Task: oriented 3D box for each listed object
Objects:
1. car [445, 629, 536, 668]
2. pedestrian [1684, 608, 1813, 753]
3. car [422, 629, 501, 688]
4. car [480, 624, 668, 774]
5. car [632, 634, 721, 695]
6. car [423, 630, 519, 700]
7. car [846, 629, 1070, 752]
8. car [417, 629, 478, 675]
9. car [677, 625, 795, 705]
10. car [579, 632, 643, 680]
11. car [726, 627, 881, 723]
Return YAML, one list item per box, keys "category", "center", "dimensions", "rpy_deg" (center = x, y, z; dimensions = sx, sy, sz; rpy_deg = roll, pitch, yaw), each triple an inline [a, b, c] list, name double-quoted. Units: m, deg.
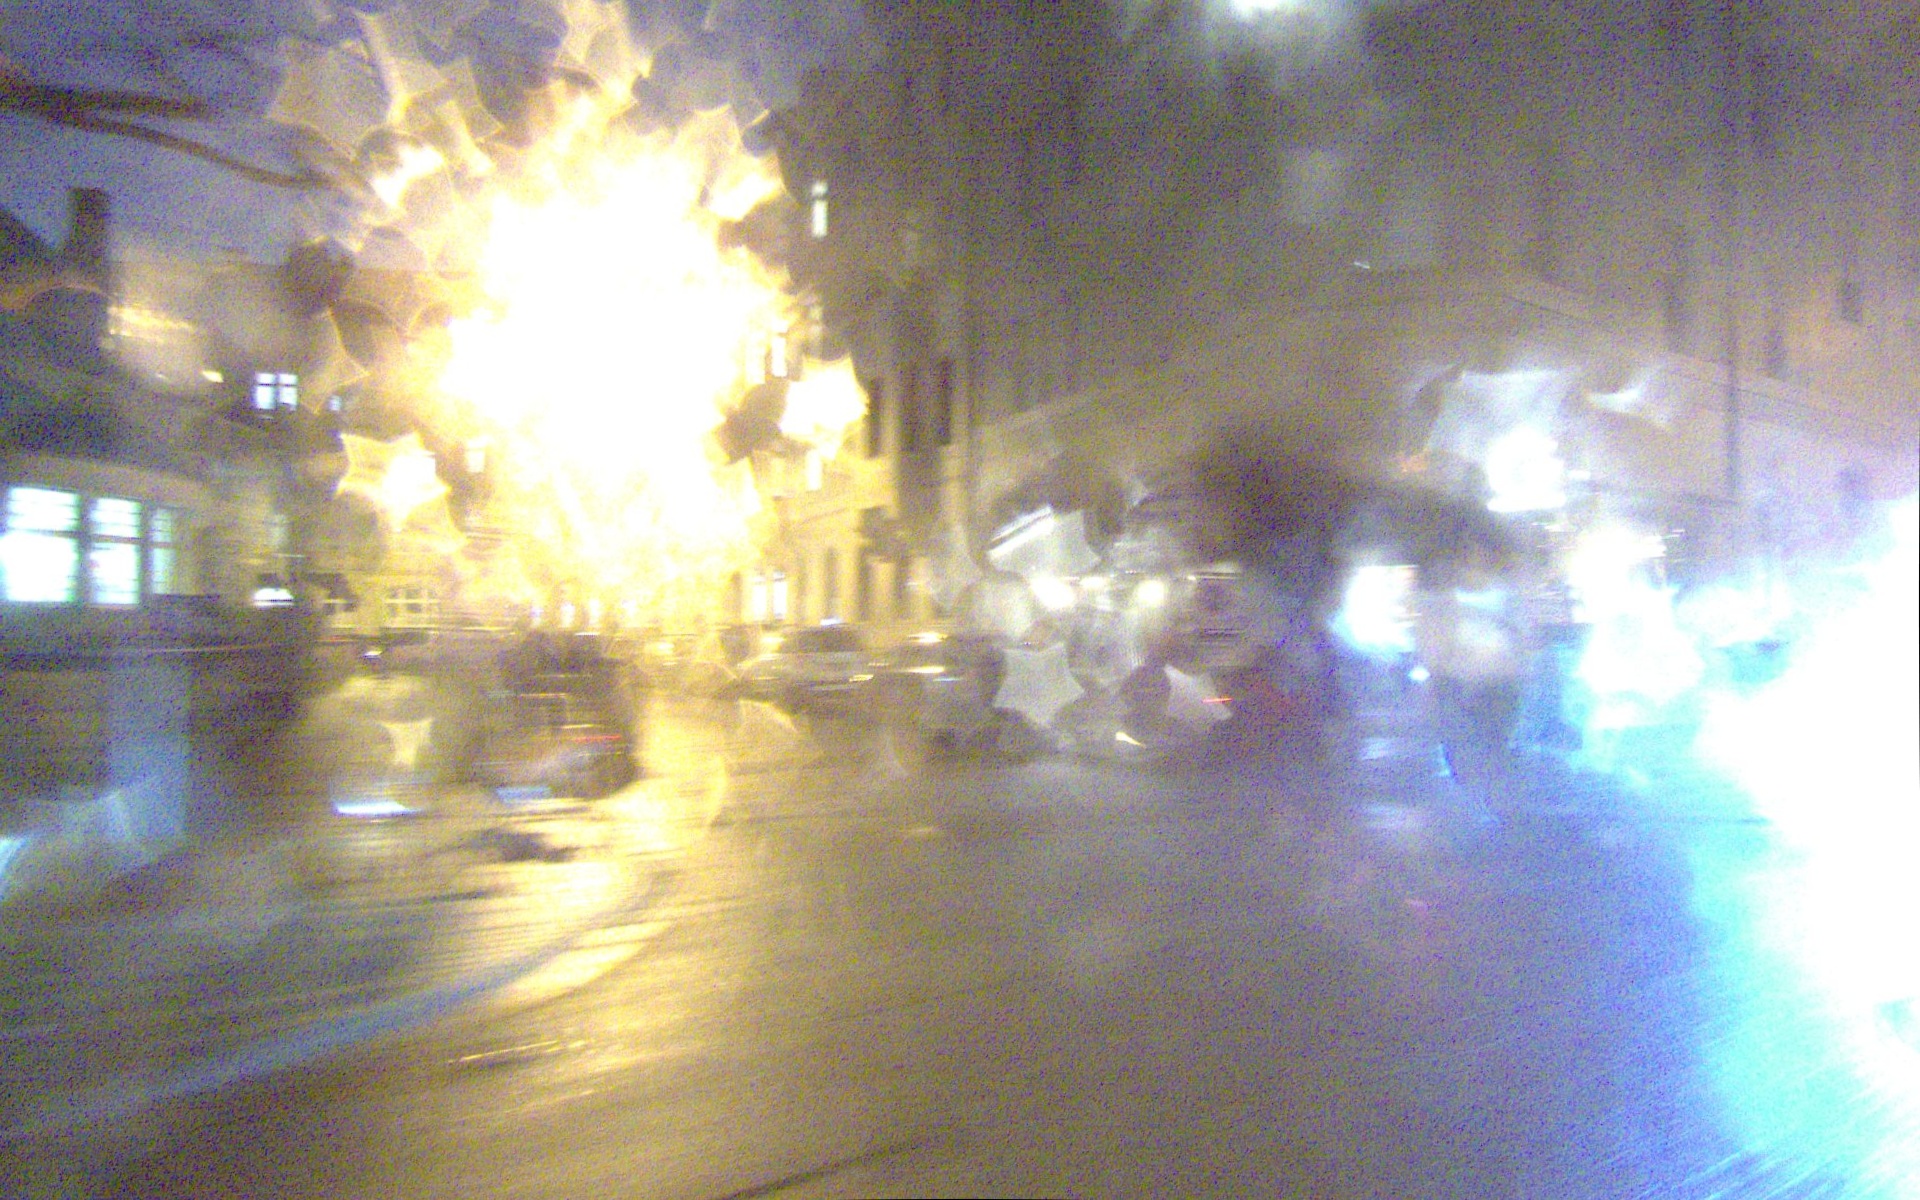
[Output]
- category: "car"
  center: [-21.749, 2.223, 46.546]
  dimensions: [4.018, 1.692, 1.819]
  rpy_deg: [0, -1, 29]
- category: "pedestrian"
  center: [10.345, 1.015, 13.203]
  dimensions: [0.778, 1.806, 1.127]
  rpy_deg: [1, -1, -29]
- category: "car"
  center: [-15.345, 1.742, 30.833]
  dimensions: [1.834, 1.629, 3.966]
  rpy_deg: [1, -1, -31]
- category: "car"
  center: [-5.054, 1.134, 12.845]
  dimensions: [1.696, 1.592, 3.916]
  rpy_deg: [1, -2, -29]
- category: "car"
  center: [-8.505, 1.864, 29.954]
  dimensions: [1.710, 1.692, 3.765]
  rpy_deg: [1, -2, -29]
- category: "car"
  center: [-12.960, 1.650, 26.510]
  dimensions: [1.835, 1.629, 3.964]
  rpy_deg: [1, -1, -33]
- category: "car"
  center: [-0.176, 1.269, 15.491]
  dimensions: [1.770, 1.558, 3.969]
  rpy_deg: [1, -1, -29]
- category: "car"
  center: [-20.094, 1.981, 39.281]
  dimensions: [1.834, 1.629, 3.966]
  rpy_deg: [1, -1, -31]
- category: "car"
  center: [-5.739, 1.587, 25.364]
  dimensions: [1.864, 1.836, 3.970]
  rpy_deg: [1, -3, -29]
- category: "car"
  center: [-13.577, 2.127, 38.934]
  dimensions: [1.710, 1.692, 3.765]
  rpy_deg: [1, -1, -29]
- category: "car"
  center: [-3.286, 1.423, 20.469]
  dimensions: [1.864, 1.703, 3.969]
  rpy_deg: [1, -1, -29]
